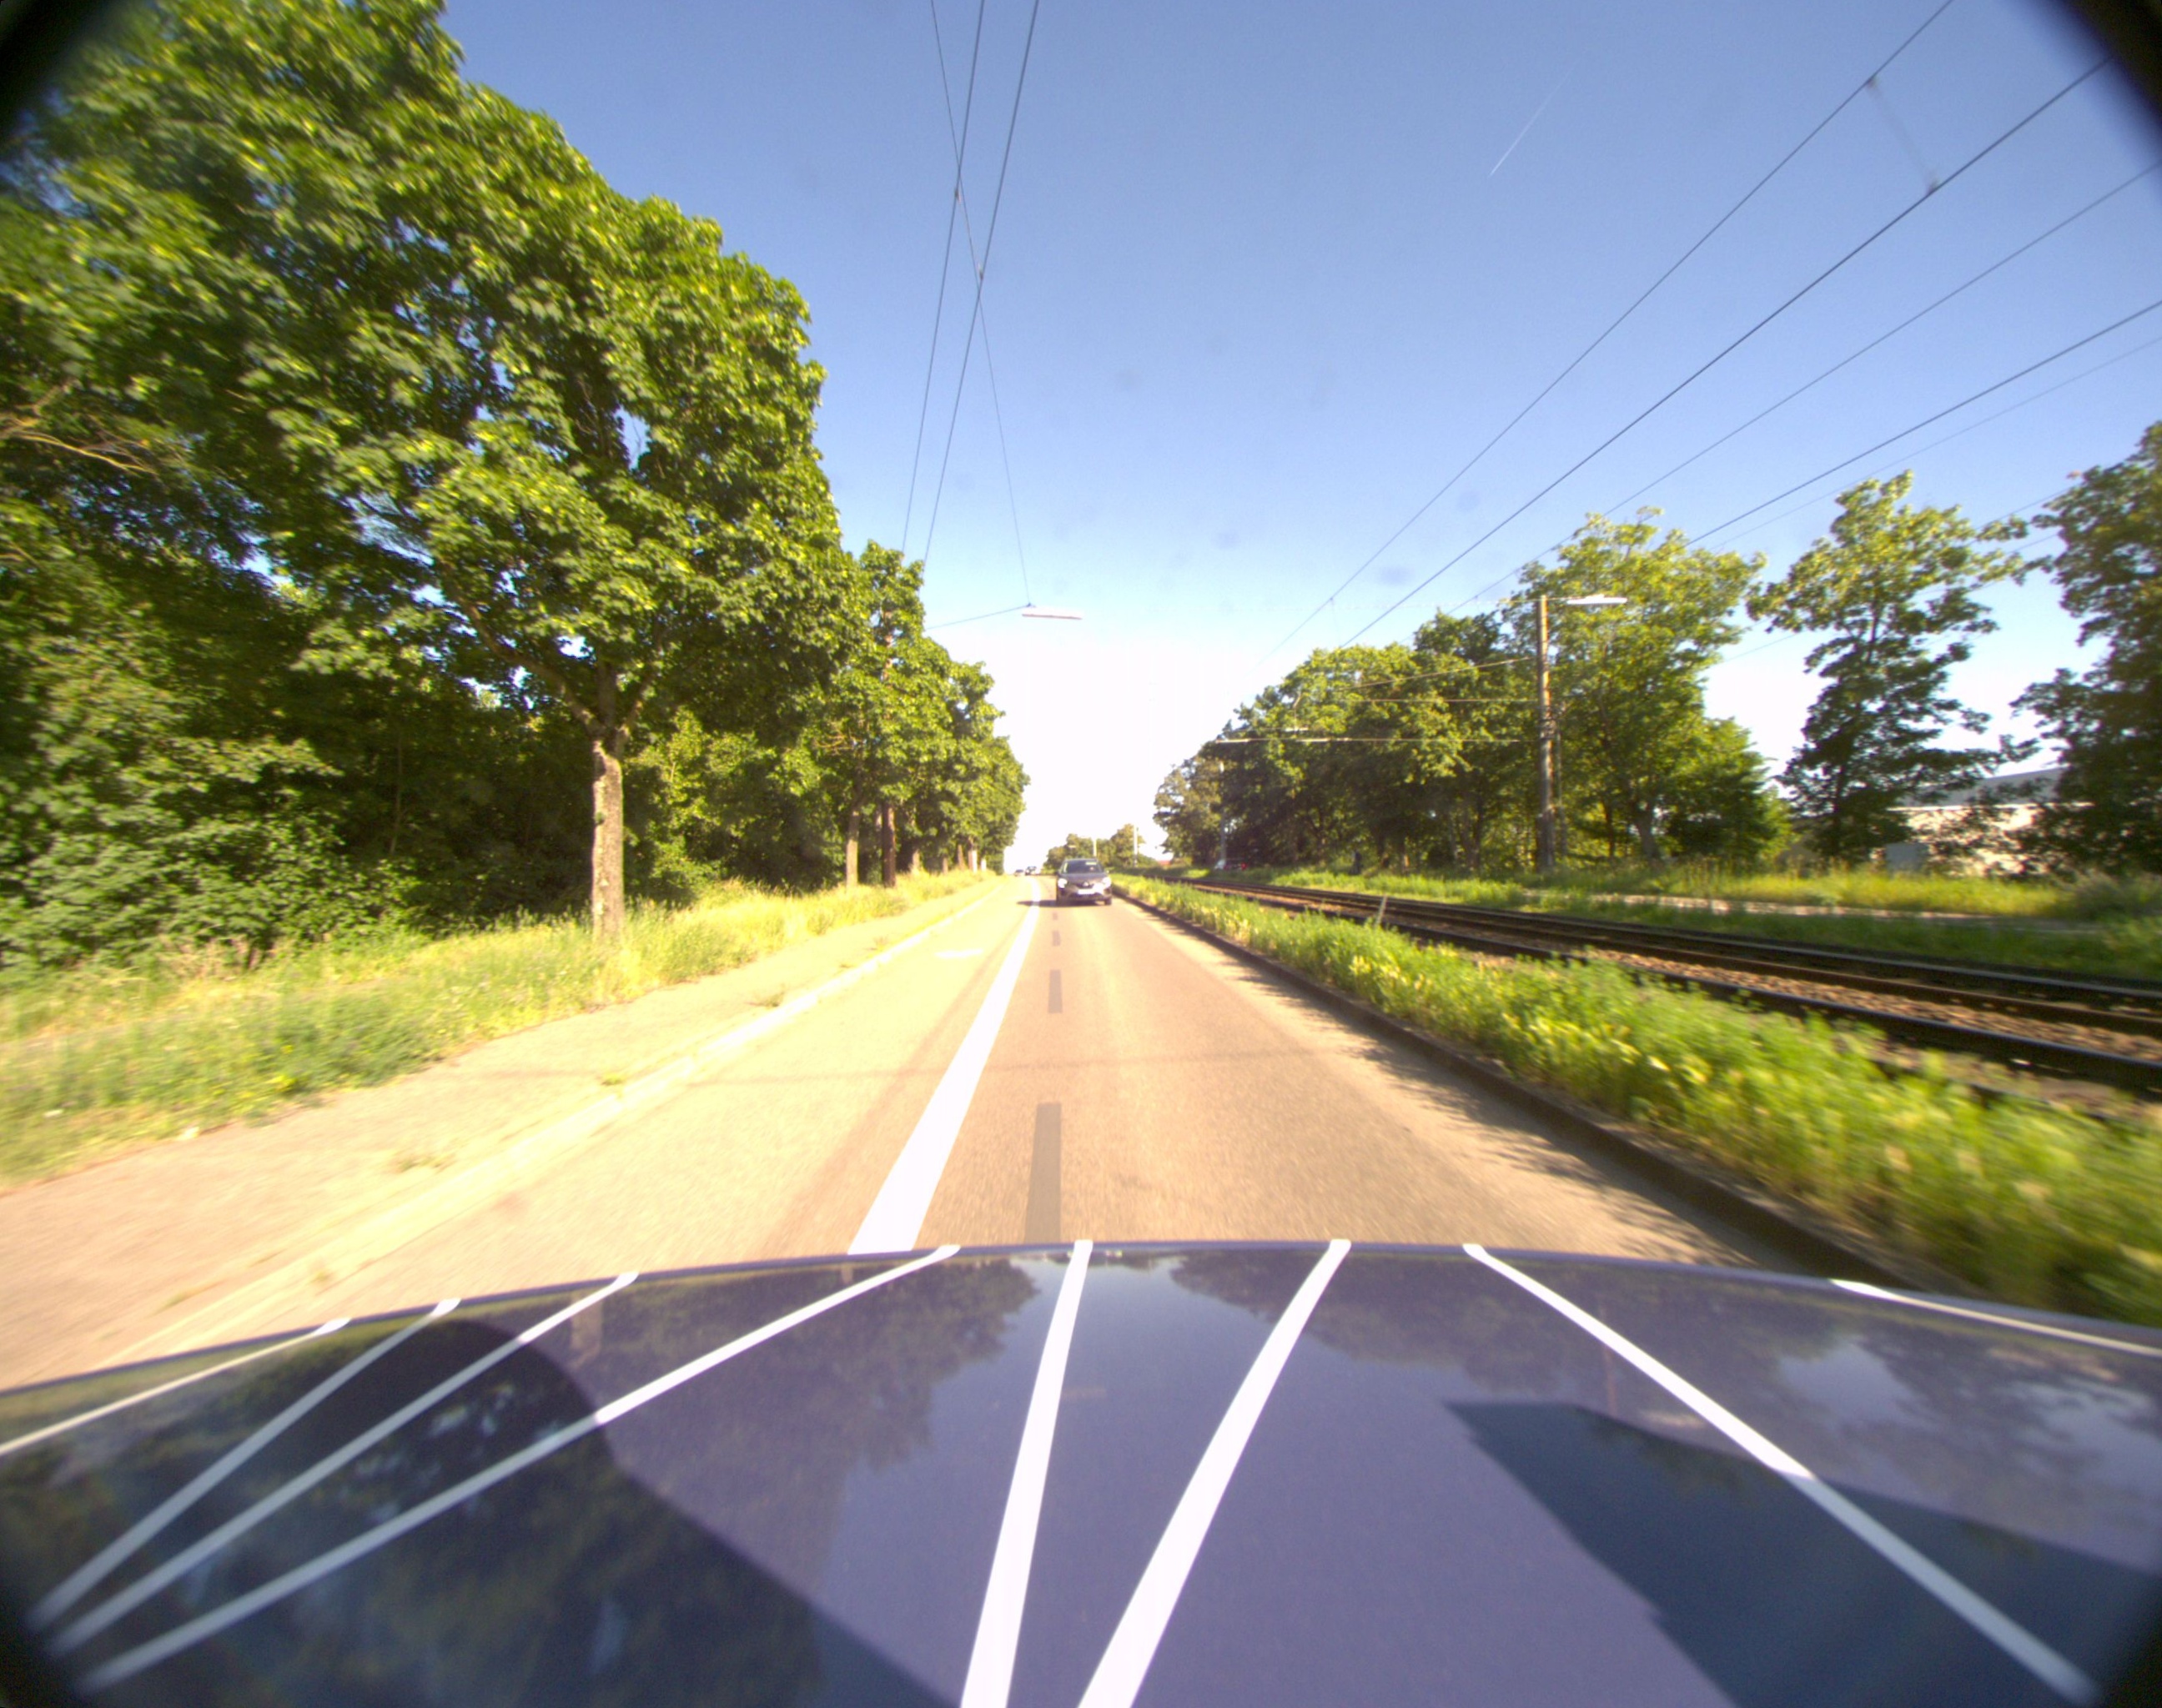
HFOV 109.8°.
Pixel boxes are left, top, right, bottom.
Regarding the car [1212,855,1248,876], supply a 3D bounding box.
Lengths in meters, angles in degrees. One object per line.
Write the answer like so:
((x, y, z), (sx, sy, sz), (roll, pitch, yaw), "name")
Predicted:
((11.325, 0.867, 57.973), (1.715, 1.470, 3.999), (-2, 0, -4), "car")

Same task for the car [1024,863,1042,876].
((-6.405, 2.067, 100.310), (2.000, 1.577, 3.997), (-2, 0, -8), "car")

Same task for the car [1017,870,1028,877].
((-13.216, 4.378, 170.925), (2.000, 1.577, 3.996), (-2, 0, -11), "car")

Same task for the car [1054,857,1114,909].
((0.030, 0.951, 26.418), (1.822, 1.589, 4.412), (-3, 0, -2), "car")

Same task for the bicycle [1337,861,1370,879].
((15.367, 0.888, 42.903), (0.820, 0.909, 2.537), (-2, 0, -2), "bicycle")

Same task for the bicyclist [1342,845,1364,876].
((15.340, 0.377, 42.899), (0.821, 1.726, 0.902), (-2, 0, -2), "bicyclist")
